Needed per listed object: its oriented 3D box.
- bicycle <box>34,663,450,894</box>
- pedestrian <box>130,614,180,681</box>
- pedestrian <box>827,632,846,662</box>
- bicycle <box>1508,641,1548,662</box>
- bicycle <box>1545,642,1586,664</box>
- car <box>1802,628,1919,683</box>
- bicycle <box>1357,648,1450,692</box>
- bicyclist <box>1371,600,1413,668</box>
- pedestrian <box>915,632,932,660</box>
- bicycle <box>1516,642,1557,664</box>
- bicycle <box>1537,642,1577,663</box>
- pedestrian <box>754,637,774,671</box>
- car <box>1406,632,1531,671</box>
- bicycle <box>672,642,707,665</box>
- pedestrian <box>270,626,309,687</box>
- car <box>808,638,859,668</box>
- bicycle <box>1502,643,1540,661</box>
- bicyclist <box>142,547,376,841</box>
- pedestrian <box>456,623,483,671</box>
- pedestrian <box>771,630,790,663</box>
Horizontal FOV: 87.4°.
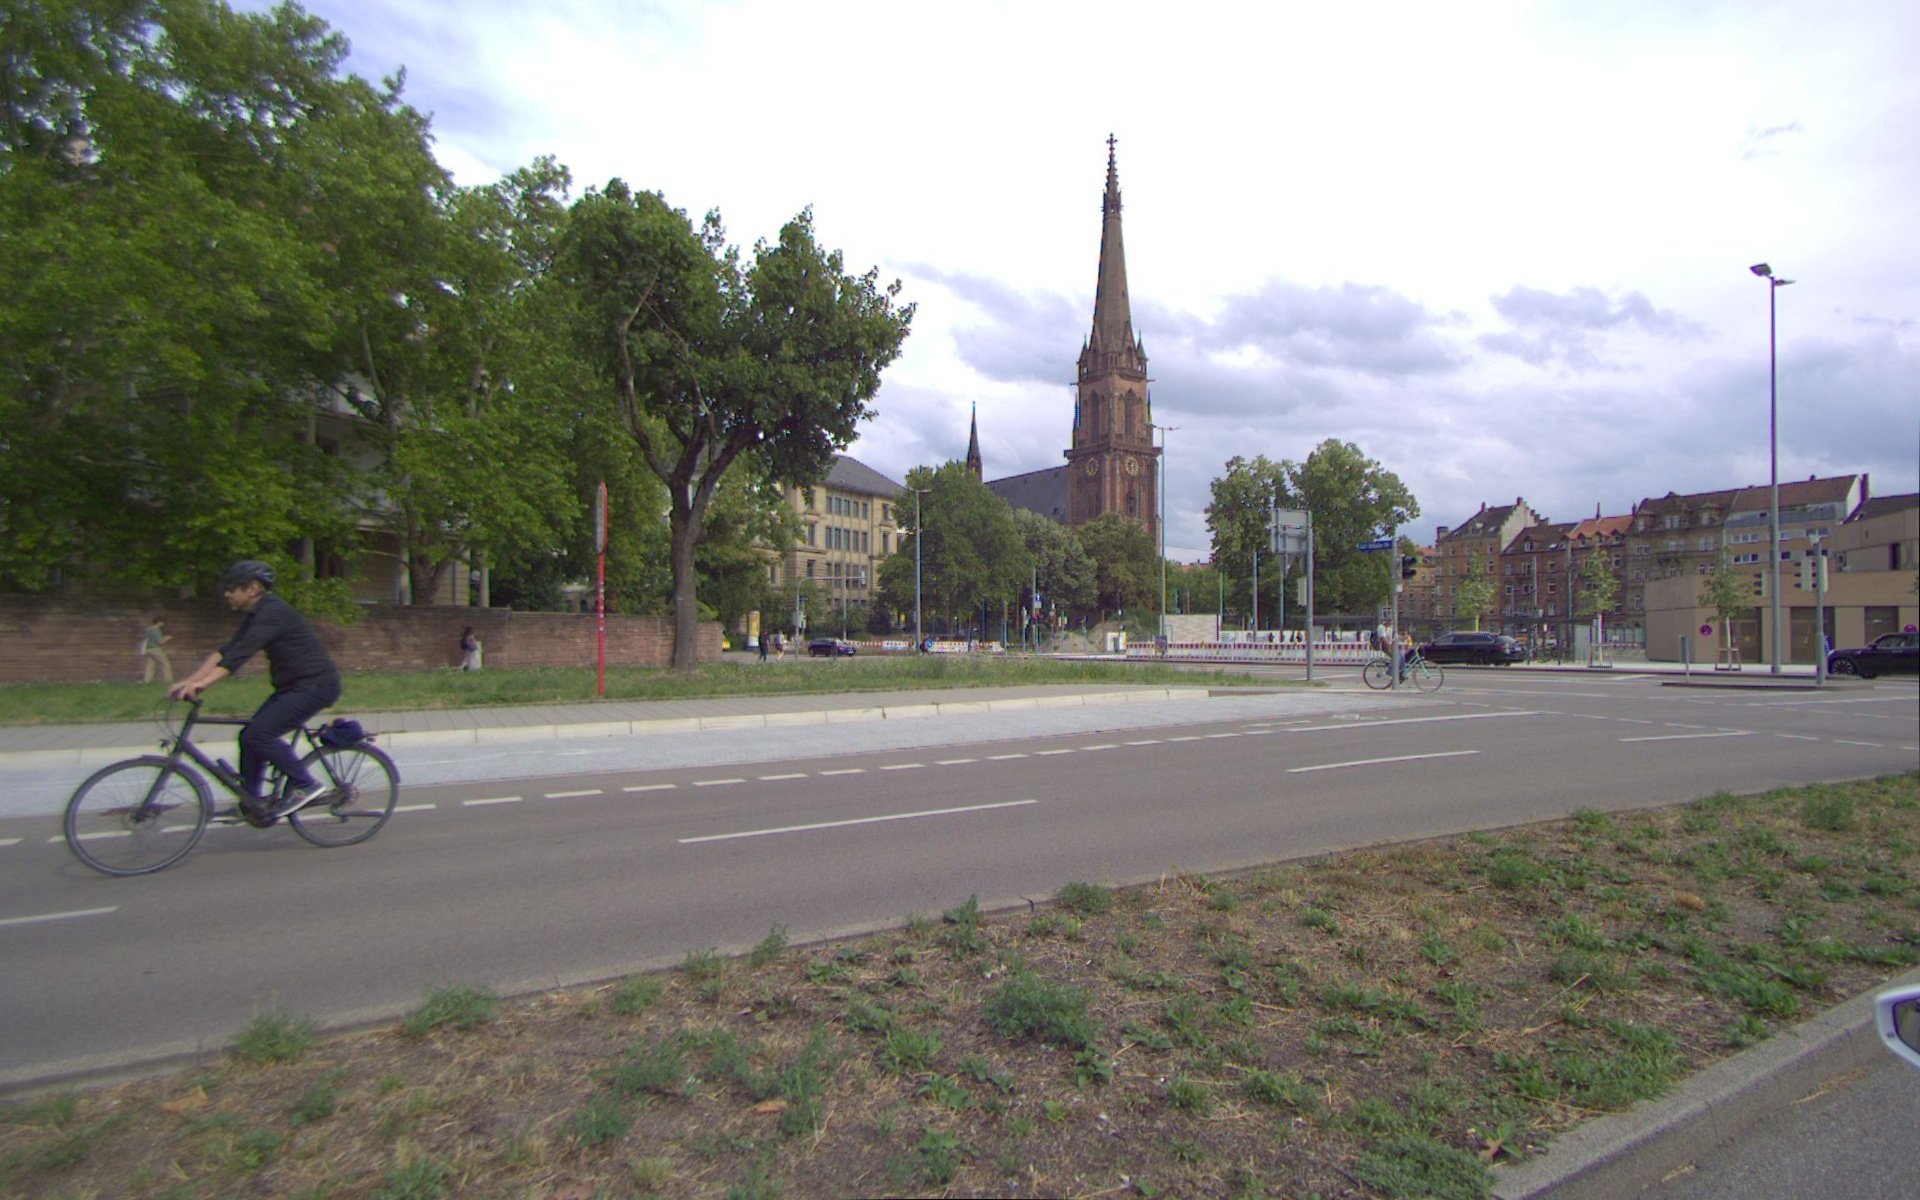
[{"bbox_3d":[-4.578,1.052,6.580,0.747,1.204,2.090,-4,-3,37],"label":"bicycle"},{"bbox_3d":[-20.613,1.202,25.722,0.565,1.676,0.782,2,0,11],"label":"pedestrian"},{"bbox_3d":[-7.264,2.775,59.141,0.790,1.734,0.833,2,0,-29],"label":"pedestrian"},{"bbox_3d":[33.680,3.056,59.573,1.926,1.171,0.584,2,0,13],"label":"bicycle"},{"bbox_3d":[35.439,3.102,58.781,1.926,1.171,0.584,2,0,13],"label":"bicycle"},{"bbox_3d":[28.371,1.689,30.395,1.970,1.506,3.981,2,0,-20],"label":"car"},{"bbox_3d":[10.496,1.658,23.836,1.932,0.948,0.506,2,-2,13],"label":"bicycle"},{"bbox_3d":[10.275,0.814,23.914,0.782,1.575,0.580,2,-2,13],"label":"bicyclist"},{"bbox_3d":[-2.342,2.968,64.799,0.790,1.734,0.833,2,0,-29],"label":"pedestrian"},{"bbox_3d":[32.683,3.008,56.970,1.926,1.171,0.584,2,0,13],"label":"bicycle"},{"bbox_3d":[35.776,3.122,60.199,1.926,1.171,0.584,2,0,13],"label":"bicycle"},{"bbox_3d":[-10.107,2.773,51.801,0.790,1.734,0.833,2,0,-29],"label":"pedestrian"},{"bbox_3d":[21.091,2.099,41.814,1.978,1.379,4.236,2,0,-32],"label":"car"},{"bbox_3d":[-12.911,2.541,48.019,0.763,1.018,1.927,2,0,14],"label":"bicycle"},{"bbox_3d":[-19.263,1.614,28.876,0.566,1.676,0.782,2,0,0],"label":"pedestrian"},{"bbox_3d":[-9.723,4.044,76.917,1.984,2.040,3.953,2,0,-40],"label":"car"},{"bbox_3d":[34.574,3.194,61.920,1.927,0.983,0.584,2,0,19],"label":"bicycle"},{"bbox_3d":[-4.584,0.586,6.604,0.766,1.733,1.081,-4,-3,37],"label":"bicyclist"},{"bbox_3d":[-17.244,1.644,35.295,0.522,1.676,0.629,2,0,26],"label":"pedestrian"},{"bbox_3d":[-9.740,2.540,54.502,0.790,1.734,0.833,2,0,-29],"label":"pedestrian"}]
